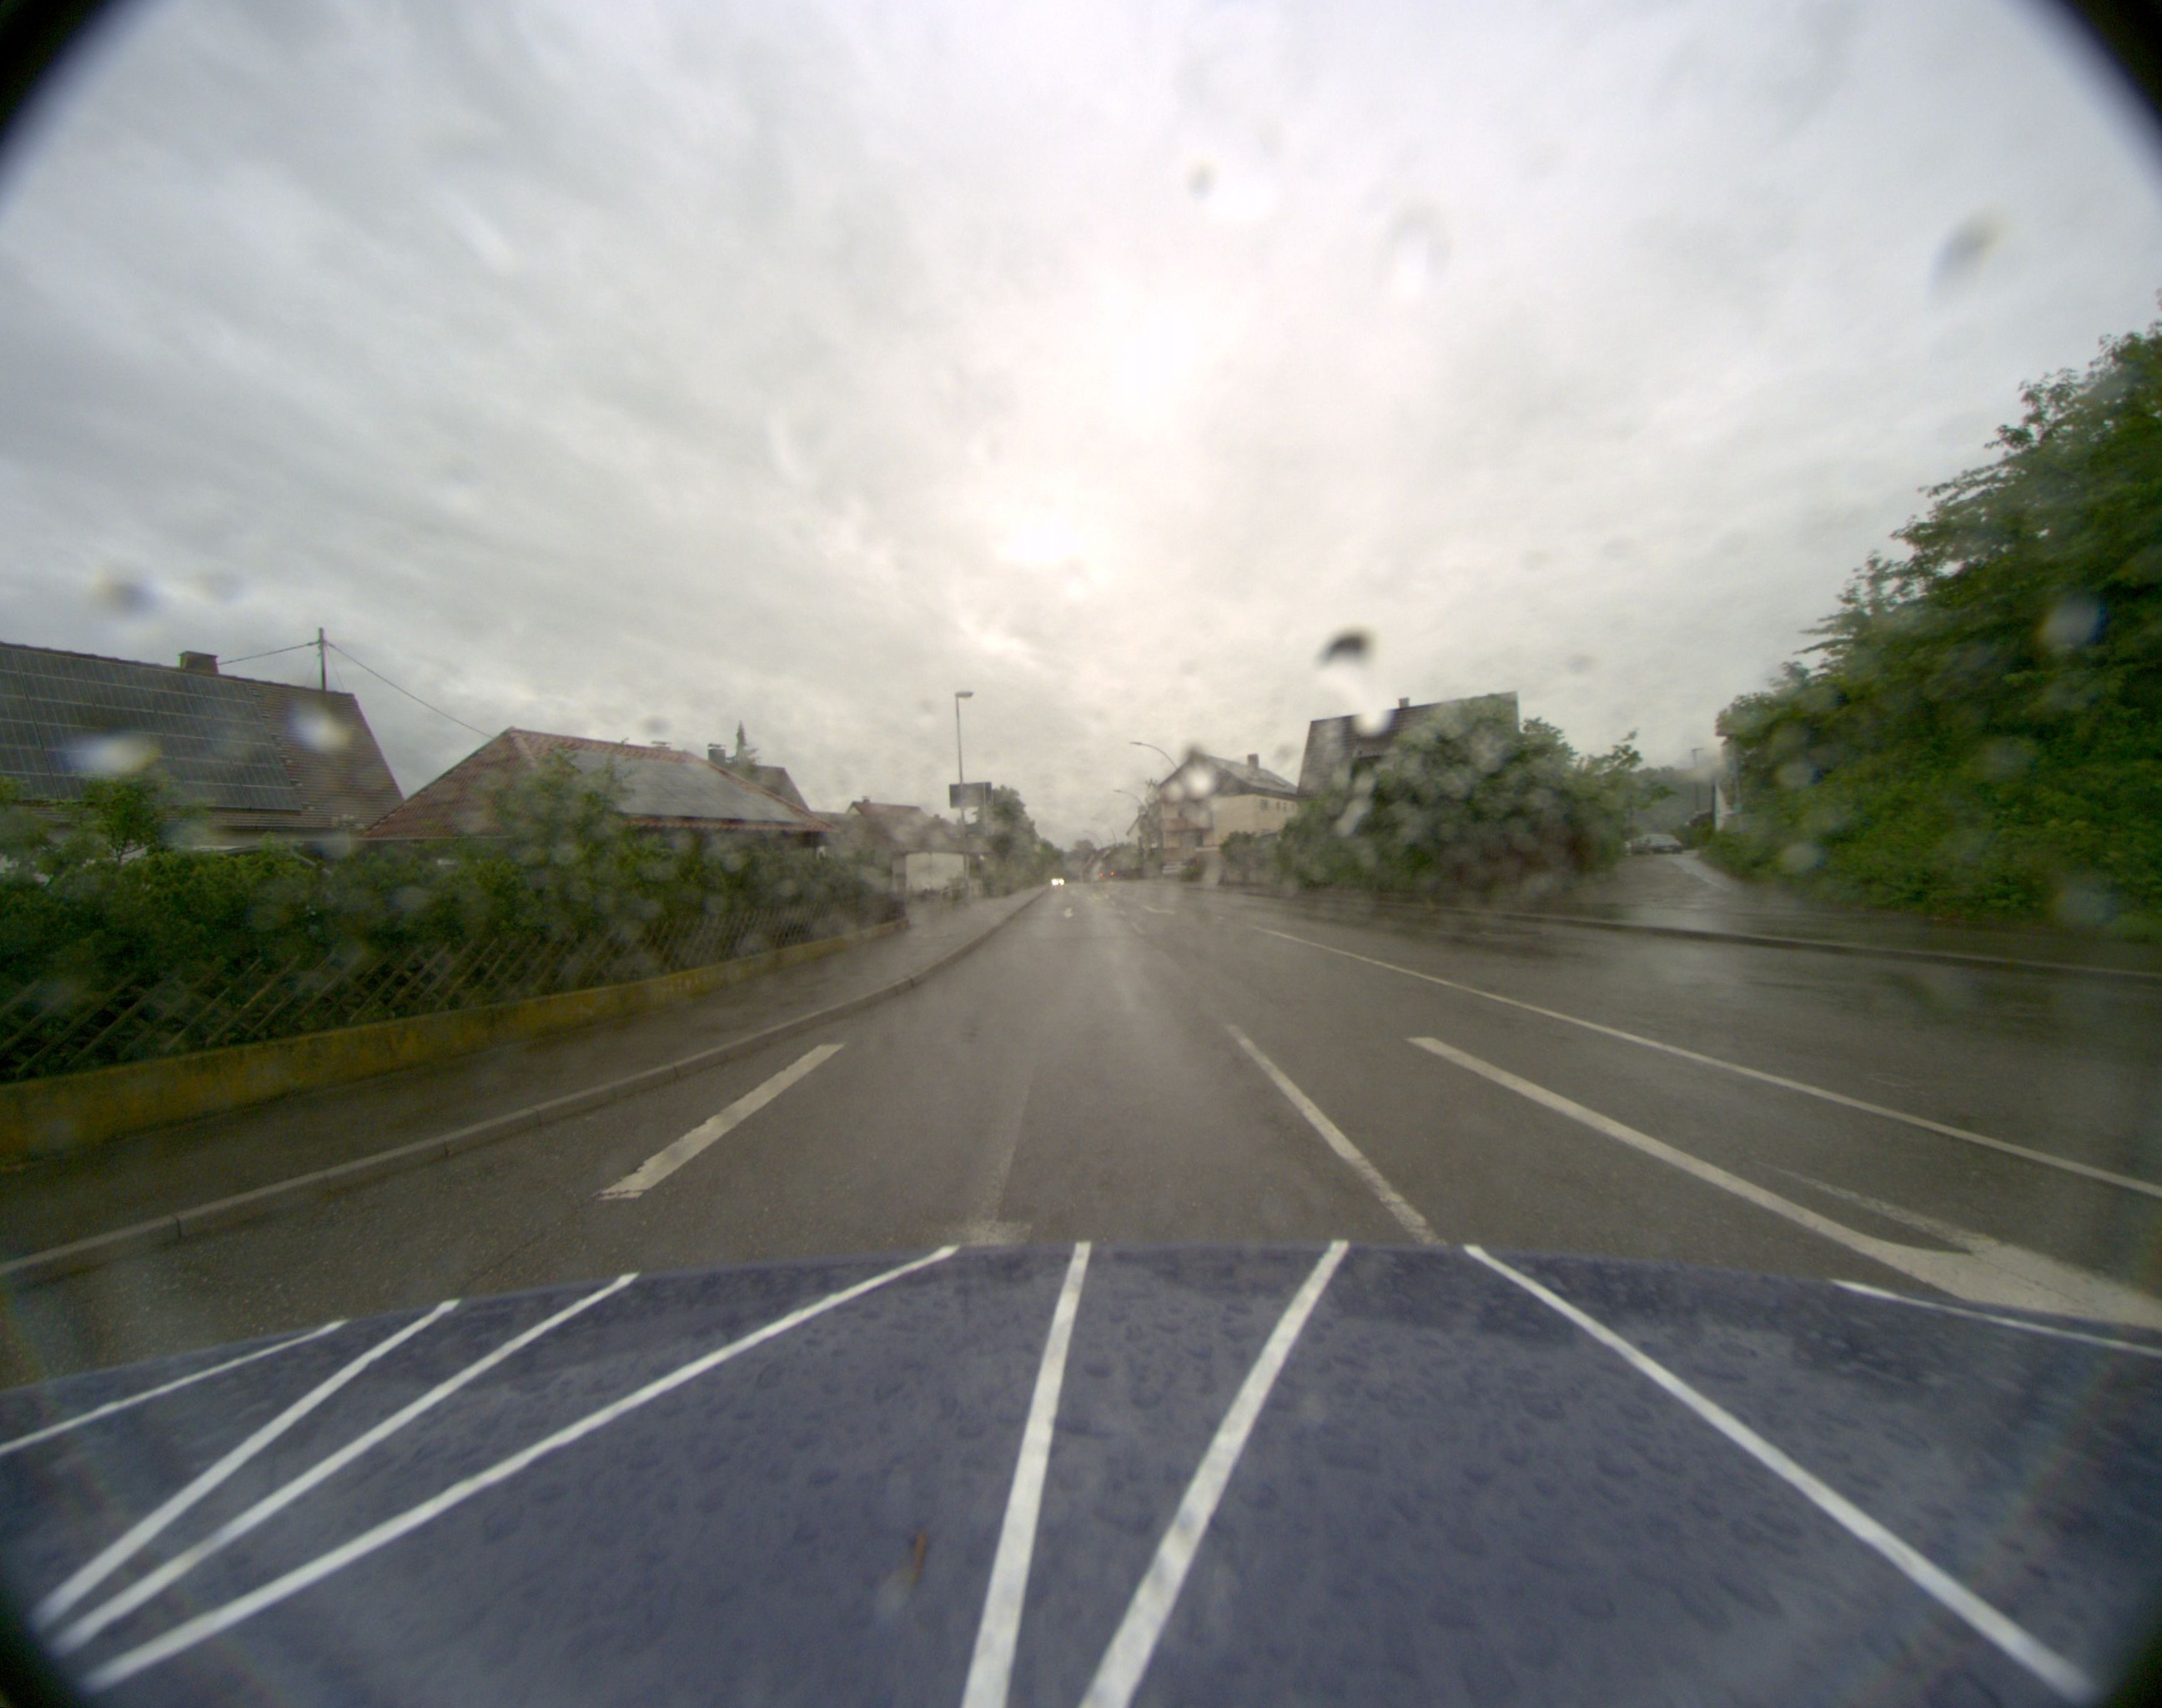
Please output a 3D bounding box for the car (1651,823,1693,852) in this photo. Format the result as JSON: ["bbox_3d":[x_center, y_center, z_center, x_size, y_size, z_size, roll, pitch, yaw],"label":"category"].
[{"bbox_3d":[41.136,-1.169,52.870,1.995,1.848,4.008,-3,0,41],"label":"car"}]

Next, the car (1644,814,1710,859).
[{"bbox_3d":[22.975,-0.677,29.234,1.706,1.579,3.669,-2,0,42],"label":"car"}]

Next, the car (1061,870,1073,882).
[{"bbox_3d":[-2.698,4.223,144.451,1.998,2.002,4.000,-3,0,1],"label":"car"}]

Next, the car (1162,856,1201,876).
[{"bbox_3d":[8.923,1.046,67.071,1.864,1.510,4.007,-3,0,32],"label":"car"}]

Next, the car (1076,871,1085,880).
[{"bbox_3d":[-0.059,4.937,174.921,1.932,1.864,4.000,-3,0,0],"label":"car"}]

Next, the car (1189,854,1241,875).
[{"bbox_3d":[10.812,0.827,61.167,3.661,1.510,1.758,-3,0,35],"label":"car"}]

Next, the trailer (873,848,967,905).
[{"bbox_3d":[-7.744,1.056,36.984,1.645,2.502,4.712,-3,-1,29],"label":"trailer"}]
